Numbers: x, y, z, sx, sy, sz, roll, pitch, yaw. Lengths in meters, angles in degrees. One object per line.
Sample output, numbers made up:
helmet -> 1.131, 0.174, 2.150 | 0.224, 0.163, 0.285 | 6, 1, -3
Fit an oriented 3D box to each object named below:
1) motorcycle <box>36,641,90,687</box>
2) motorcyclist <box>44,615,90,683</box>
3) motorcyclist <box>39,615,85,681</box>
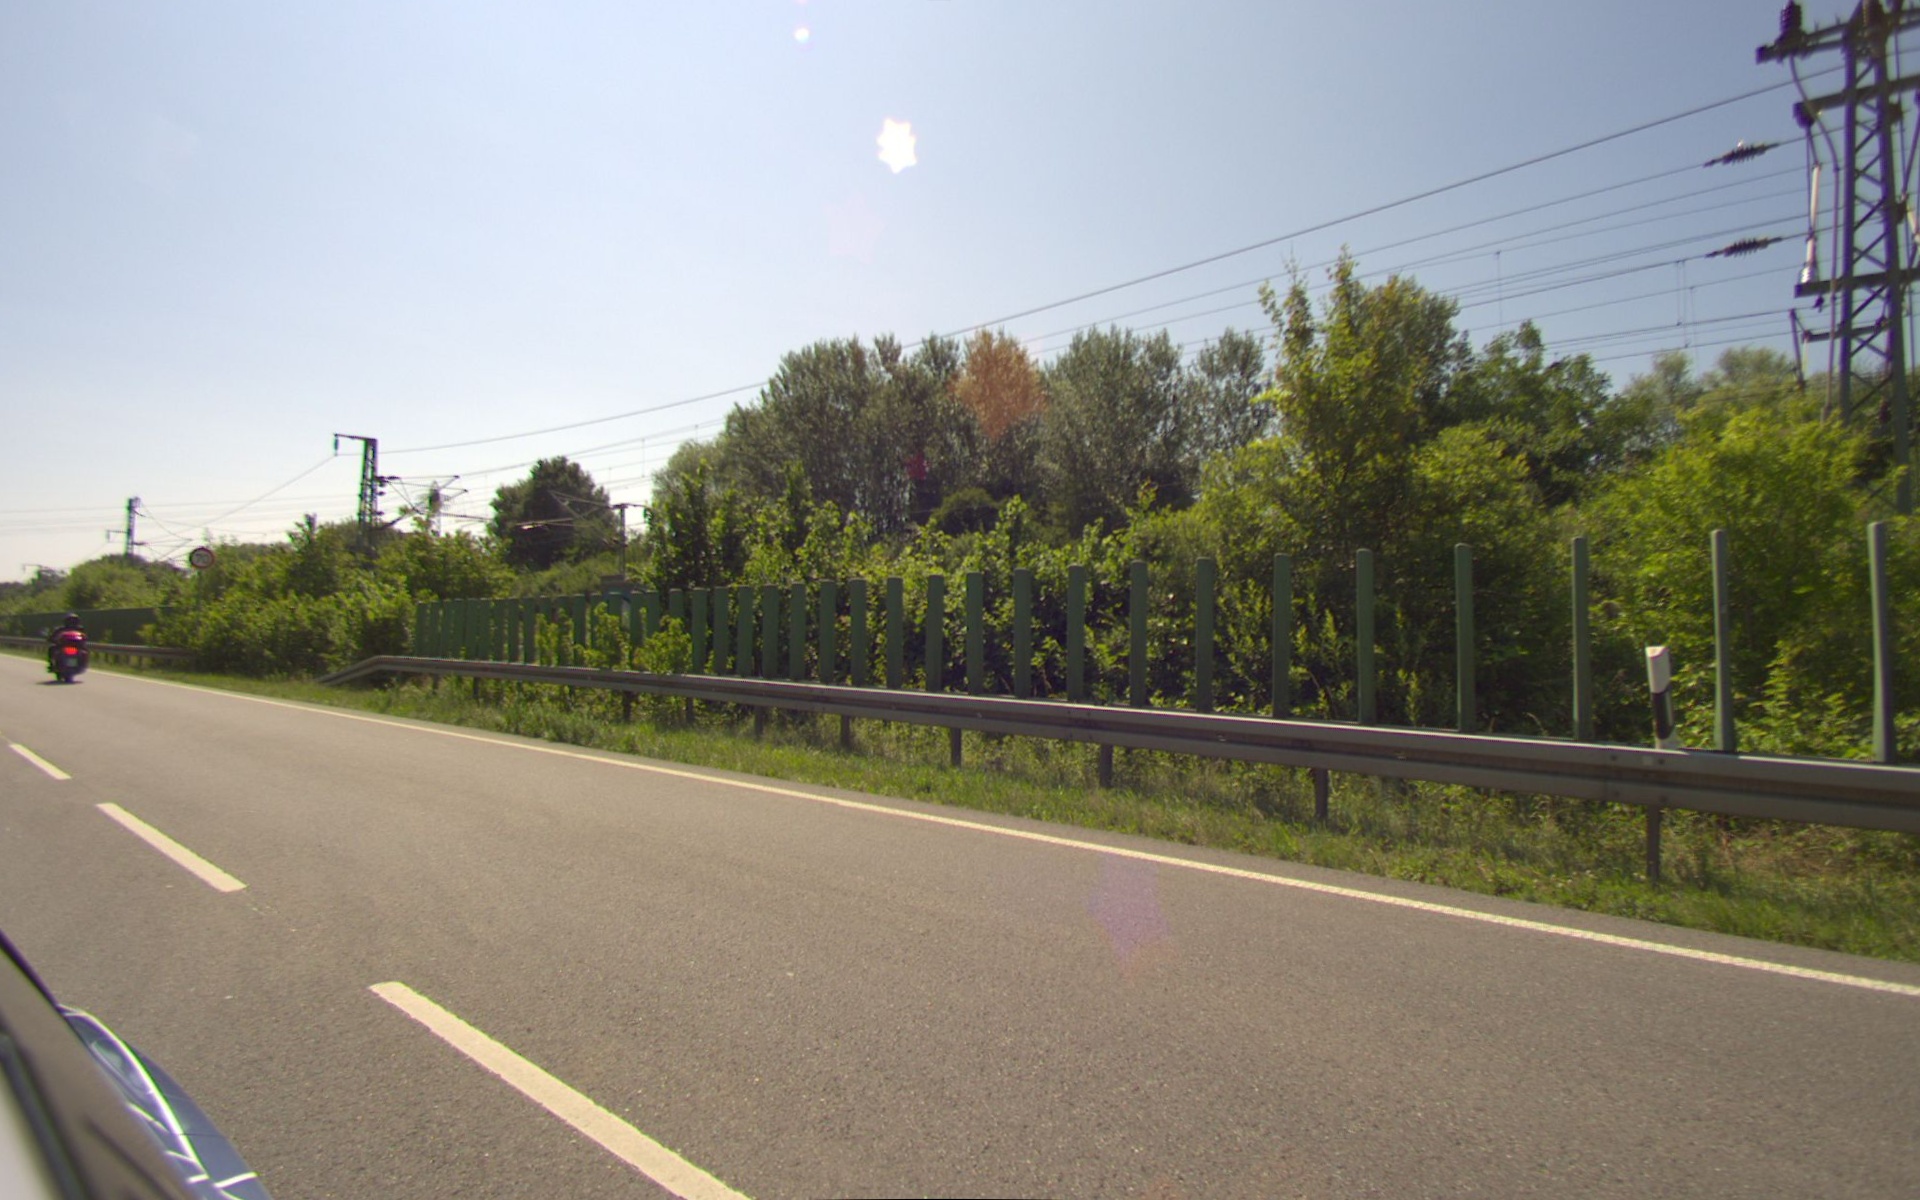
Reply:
motorcycle -> -22.312, 1.555, 25.158 | 2.721, 1.021, 0.746 | -1, 0, 43
motorcyclist -> -21.633, 1.173, 24.522 | 0.863, 1.595, 0.741 | -1, 0, 43
motorcyclist -> -22.330, 1.180, 25.161 | 1.003, 1.595, 0.750 | -1, 0, 43
